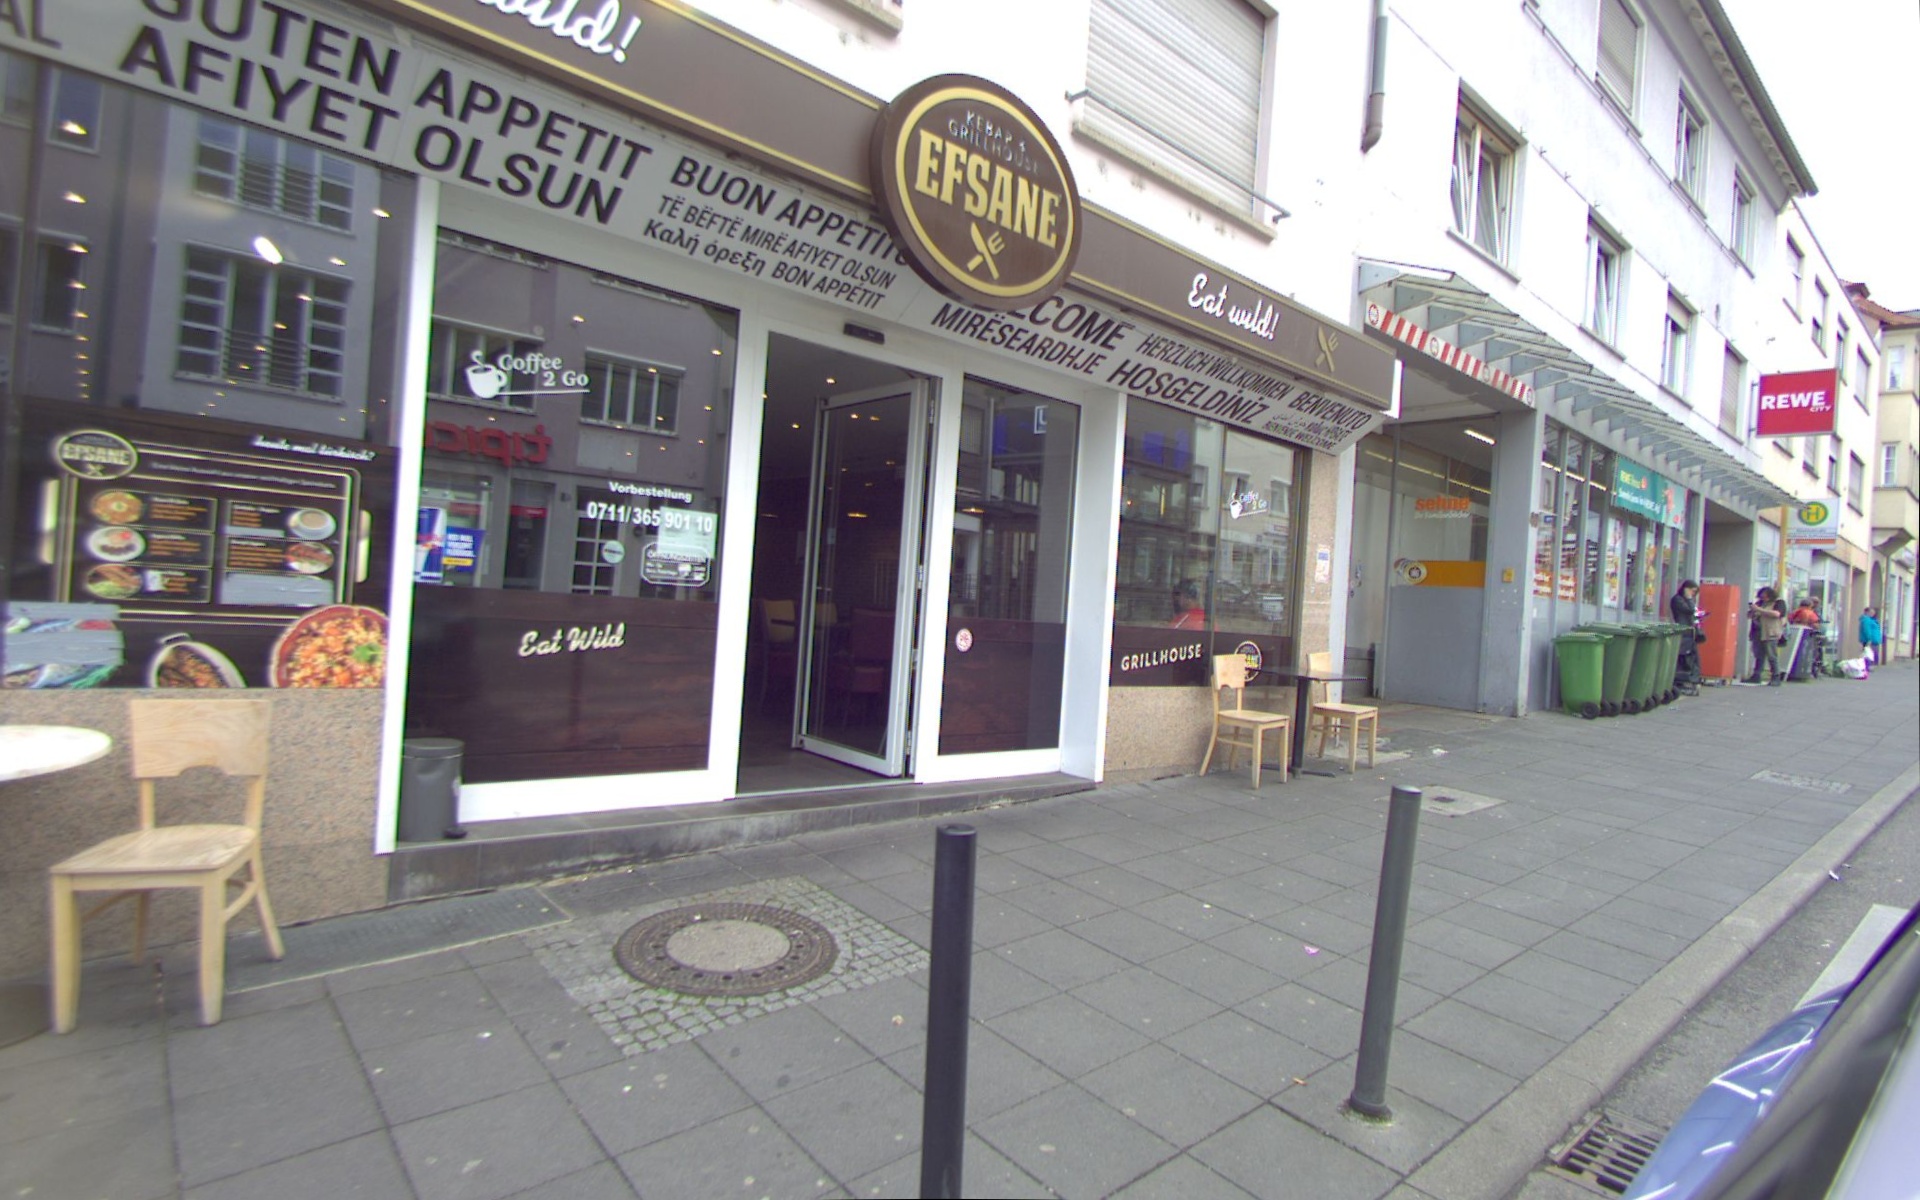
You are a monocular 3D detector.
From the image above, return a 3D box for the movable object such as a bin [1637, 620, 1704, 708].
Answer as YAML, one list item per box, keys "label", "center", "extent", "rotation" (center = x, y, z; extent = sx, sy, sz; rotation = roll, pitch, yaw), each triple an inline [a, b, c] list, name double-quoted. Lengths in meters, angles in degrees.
- label: "movable object such as a bin"
  center: [9.296, 0.819, 13.239]
  extent: [0.564, 1.073, 0.569]
  rotation: [1, 1, -41]

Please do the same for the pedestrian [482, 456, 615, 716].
- label: "pedestrian"
  center: [-2.926, -0.104, 7.215]
  extent: [0.621, 1.747, 0.601]
  rotation: [1, 0, 26]

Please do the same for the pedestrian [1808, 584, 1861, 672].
- label: "pedestrian"
  center: [17.553, 0.547, 20.320]
  extent: [0.599, 1.747, 0.624]
  rotation: [0, 0, 19]

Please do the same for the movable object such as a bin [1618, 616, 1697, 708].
- label: "movable object such as a bin"
  center: [8.830, 0.763, 12.811]
  extent: [0.648, 1.094, 0.652]
  rotation: [1, 2, -41]

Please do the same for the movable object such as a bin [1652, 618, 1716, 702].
- label: "movable object such as a bin"
  center: [9.735, 0.788, 13.608]
  extent: [0.549, 1.070, 0.559]
  rotation: [1, 1, -41]

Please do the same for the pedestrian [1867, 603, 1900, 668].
- label: "pedestrian"
  center: [23.989, 0.906, 26.287]
  extent: [0.625, 1.650, 0.597]
  rotation: [0, 0, 44]

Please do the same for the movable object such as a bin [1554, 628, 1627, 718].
- label: "movable object such as a bin"
  center: [7.254, 0.823, 11.651]
  extent: [0.490, 0.968, 0.568]
  rotation: [1, 1, -41]

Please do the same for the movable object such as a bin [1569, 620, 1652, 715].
- label: "movable object such as a bin"
  center: [7.719, 0.782, 12.008]
  extent: [0.550, 1.043, 0.670]
  rotation: [1, 2, -41]

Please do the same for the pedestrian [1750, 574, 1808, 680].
- label: "pedestrian"
  center: [14.022, 0.445, 17.327]
  extent: [0.626, 1.746, 0.597]
  rotation: [5, 3, 43]

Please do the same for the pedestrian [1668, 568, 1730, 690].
- label: "pedestrian"
  center: [10.837, 0.412, 14.861]
  extent: [0.621, 1.747, 0.601]
  rotation: [0, 0, 26]

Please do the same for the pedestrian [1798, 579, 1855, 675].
- label: "pedestrian"
  center: [16.920, 0.510, 19.773]
  extent: [0.618, 1.845, 0.604]
  rotation: [0, 0, 15]

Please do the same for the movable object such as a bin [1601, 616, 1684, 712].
- label: "movable object such as a bin"
  center: [8.306, 0.760, 12.319]
  extent: [0.661, 1.094, 0.652]
  rotation: [1, 2, -41]
